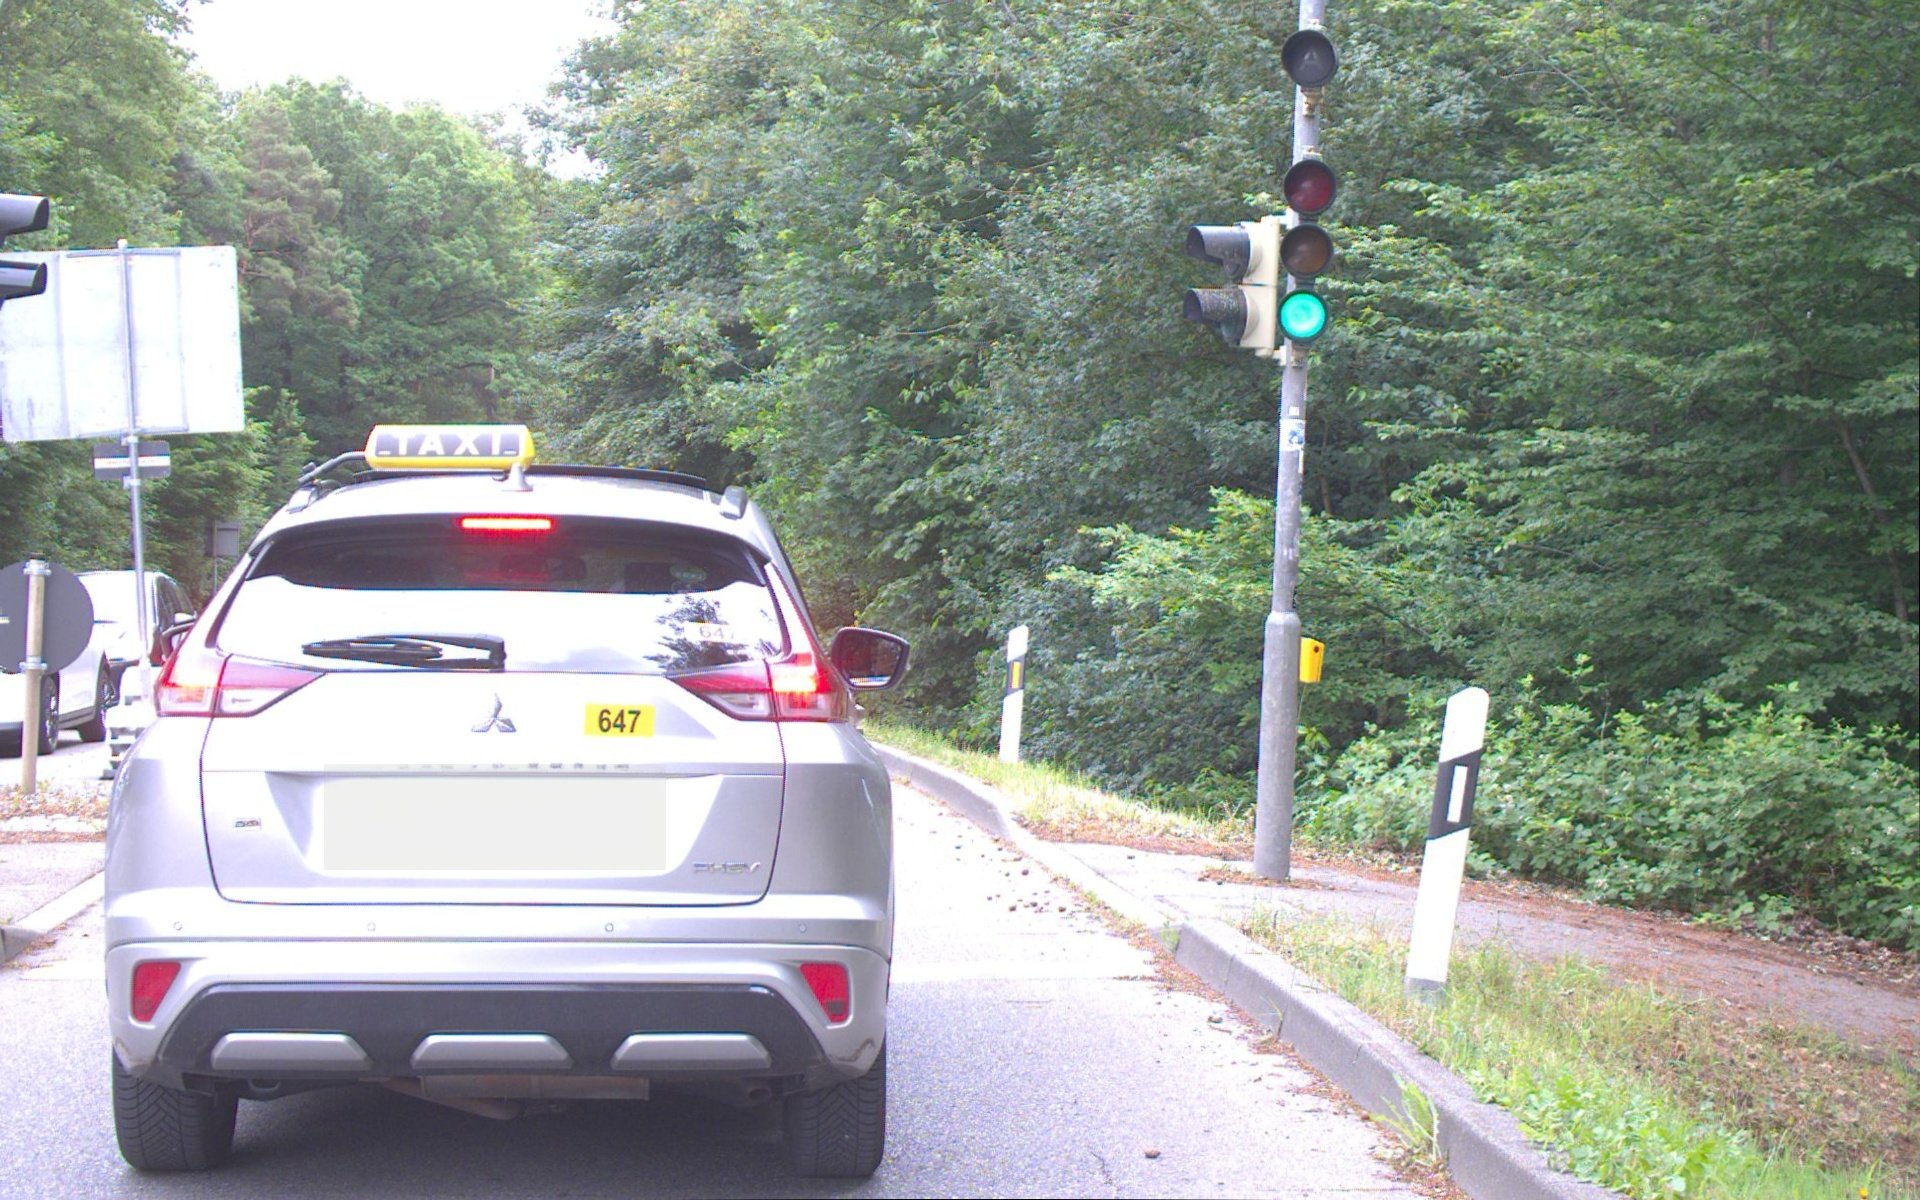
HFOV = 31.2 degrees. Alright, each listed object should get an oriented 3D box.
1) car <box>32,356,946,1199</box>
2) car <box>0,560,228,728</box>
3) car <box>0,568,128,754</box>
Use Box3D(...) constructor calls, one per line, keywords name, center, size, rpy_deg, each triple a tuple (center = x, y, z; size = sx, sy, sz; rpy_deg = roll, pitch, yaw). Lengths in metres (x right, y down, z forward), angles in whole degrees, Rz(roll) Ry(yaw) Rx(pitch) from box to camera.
Box3D(name="car", center=(-1.198, 0.376, 9.146), size=(1.846, 1.774, 4.001), rpy_deg=(1, 1, -7))
Box3D(name="car", center=(-8.375, 0.396, 33.507), size=(1.811, 1.503, 3.722), rpy_deg=(-2, 0, -3))
Box3D(name="car", center=(-7.807, 0.455, 27.343), size=(1.612, 1.317, 3.722), rpy_deg=(-2, 2, -3))
